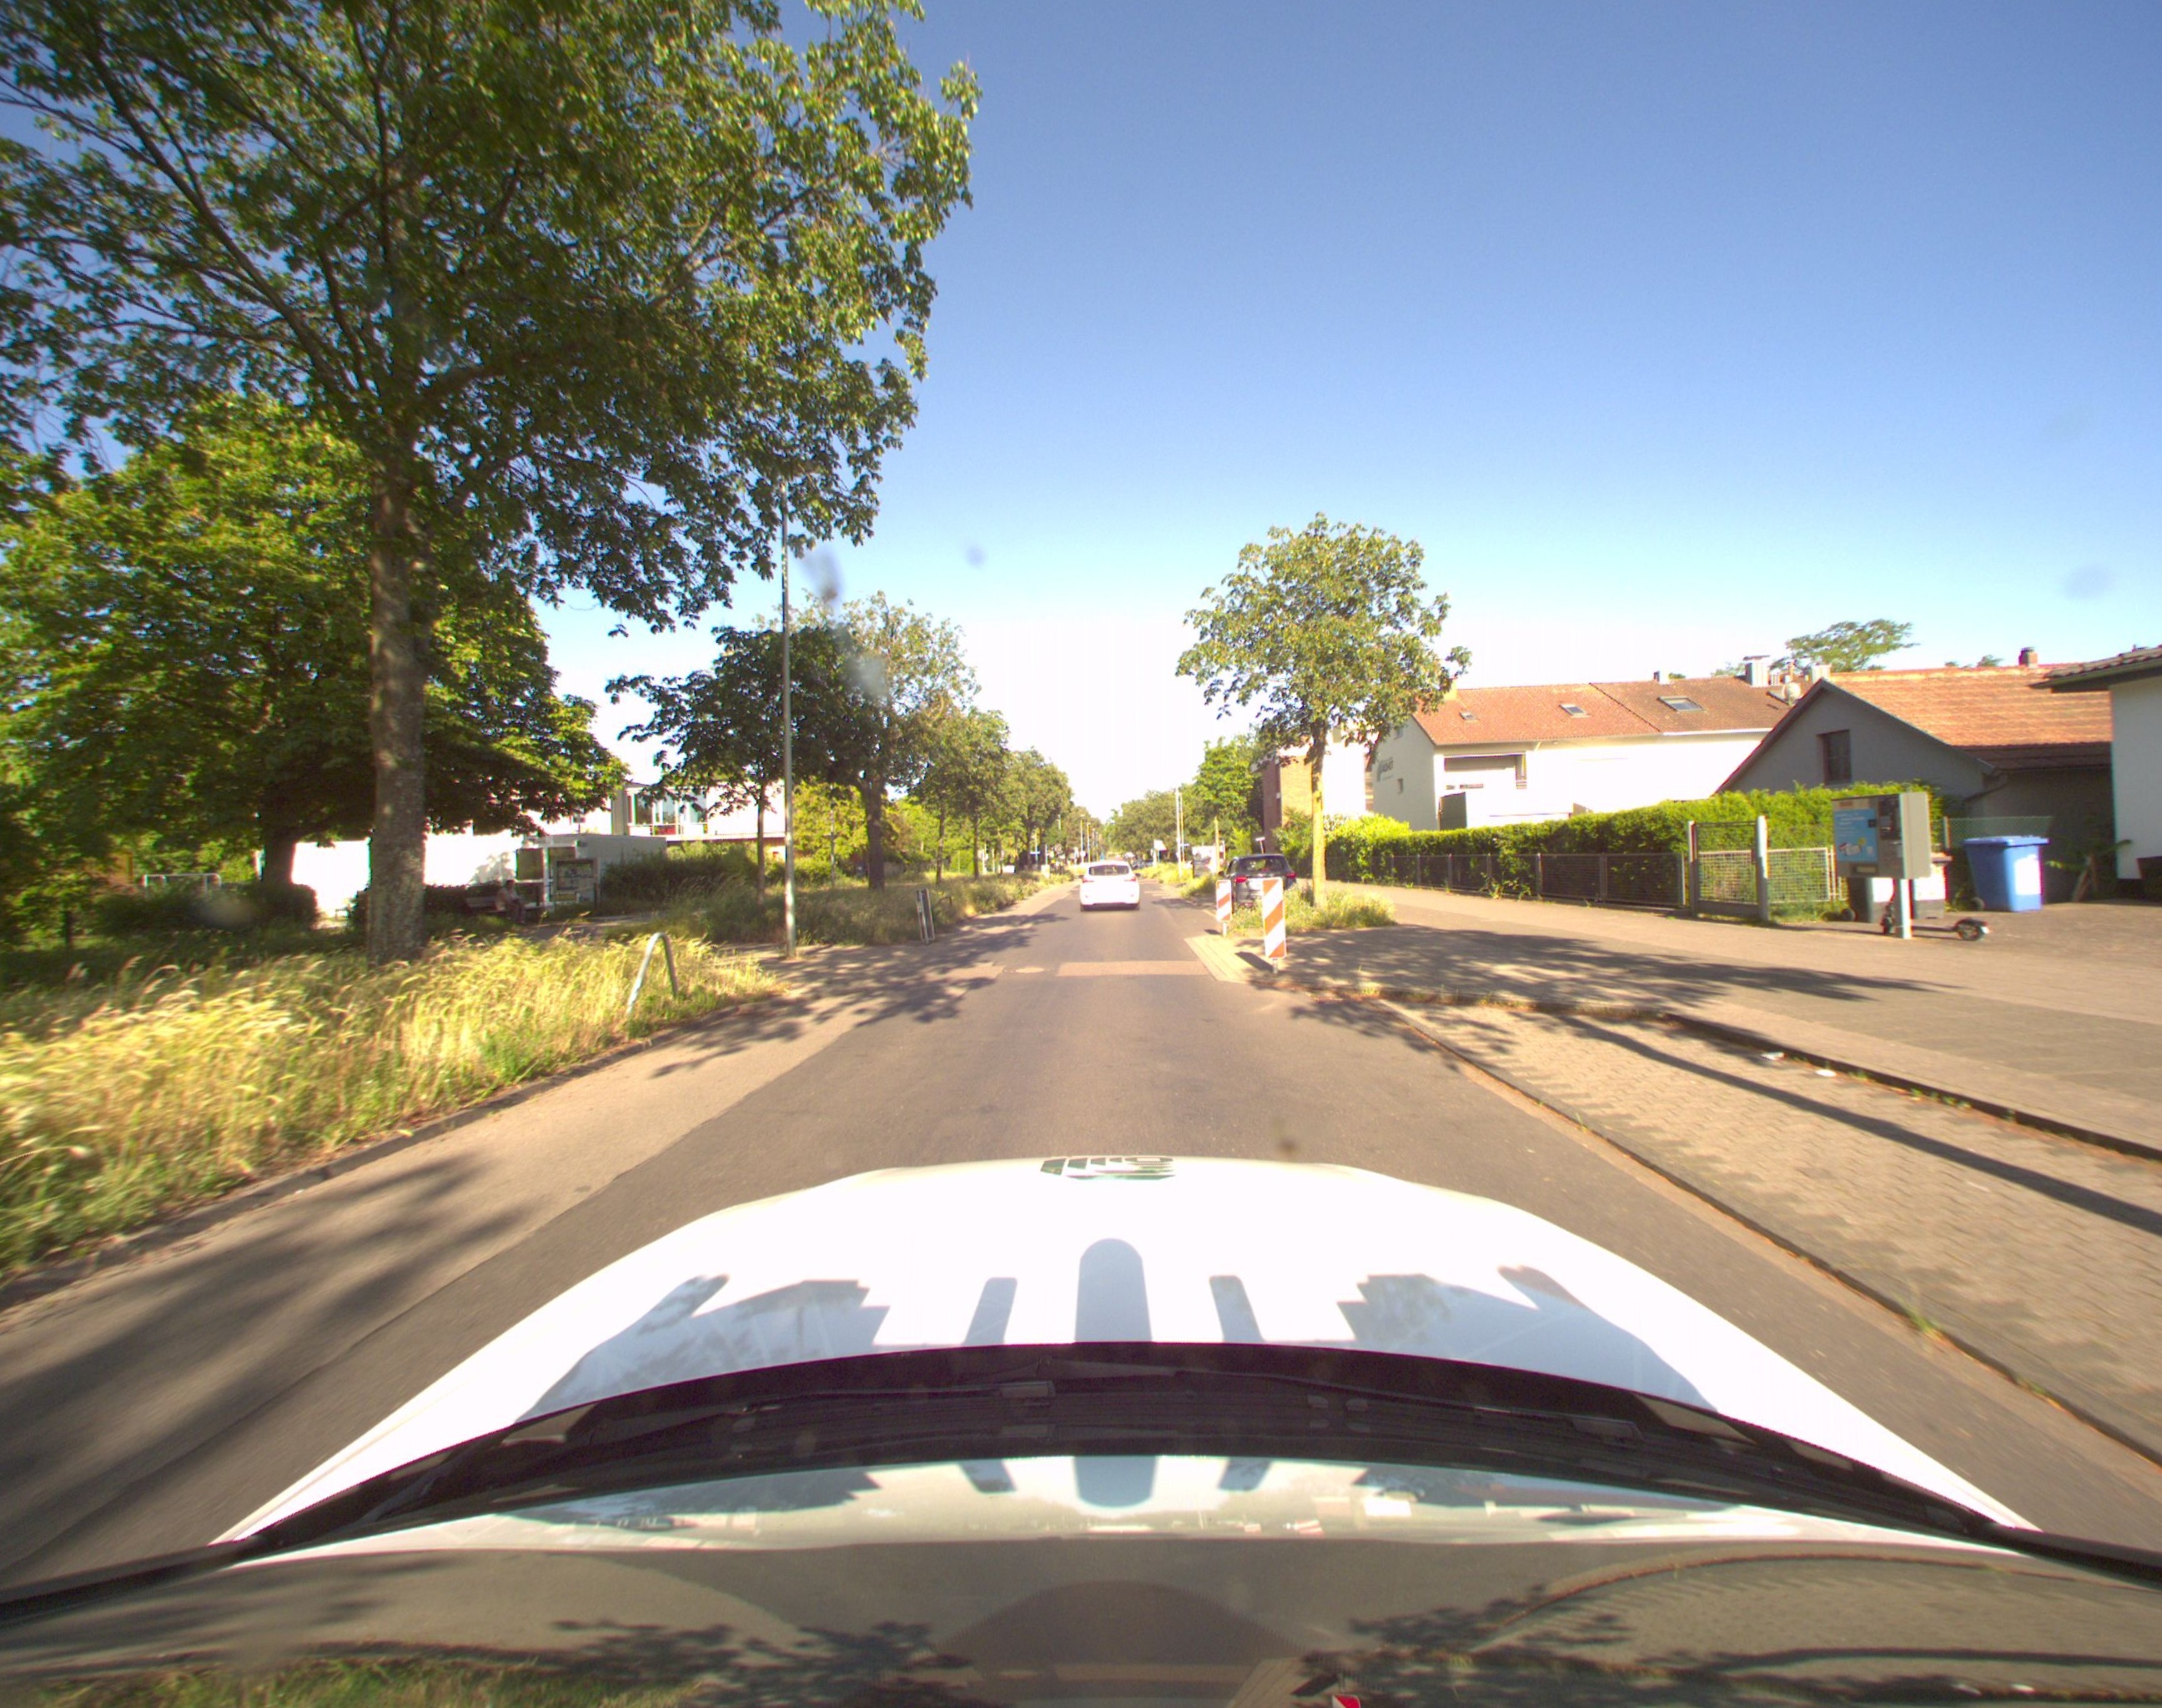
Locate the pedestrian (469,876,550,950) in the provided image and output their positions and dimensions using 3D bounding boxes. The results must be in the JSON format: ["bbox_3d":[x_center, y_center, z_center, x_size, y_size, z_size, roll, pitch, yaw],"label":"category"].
[{"bbox_3d":[-14.844,1.489,21.225,1.227,1.827,1.543,0,-2,-14],"label":"pedestrian"}]

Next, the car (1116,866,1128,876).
[{"bbox_3d":[6.239,2.558,124.977,1.809,1.508,3.660,1,-1,2],"label":"car"}]

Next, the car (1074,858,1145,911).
[{"bbox_3d":[0.832,0.892,25.552,1.987,1.455,4.224,-2,0,0],"label":"car"}]

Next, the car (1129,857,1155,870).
[{"bbox_3d":[9.778,1.513,130.157,3.973,2.014,2.000,-2,-1,1],"label":"car"}]

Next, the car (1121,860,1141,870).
[{"bbox_3d":[10.280,2.303,166.835,3.973,2.014,2.000,-2,-1,1],"label":"car"}]

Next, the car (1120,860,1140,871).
[{"bbox_3d":[10.203,2.370,169.403,3.973,2.014,2.000,-2,-1,1],"label":"car"}]

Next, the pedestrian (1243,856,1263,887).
[{"bbox_3d":[11.374,1.162,53.965,1.108,2.014,0.922,-2,-1,2],"label":"pedestrian"}]

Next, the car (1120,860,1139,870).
[{"bbox_3d":[10.209,2.366,172.127,3.973,2.014,2.000,-2,-1,1],"label":"car"}]

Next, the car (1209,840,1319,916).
[{"bbox_3d":[4.766,0.626,21.828,1.987,1.728,3.999,-3,-1,0],"label":"car"}]

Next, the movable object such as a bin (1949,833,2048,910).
[{"bbox_3d":[13.098,0.246,11.643,0.491,1.032,0.747,-5,-1,1],"label":"movable object such as a bin"}]

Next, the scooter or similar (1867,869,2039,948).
[{"bbox_3d":[10.351,0.617,9.730,0.368,0.858,1.406,-1,-1,-11],"label":"scooter or similar"}]

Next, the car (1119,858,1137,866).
[{"bbox_3d":[10.581,1.722,182.408,3.974,1.750,2.000,-1,-1,0],"label":"car"}]
